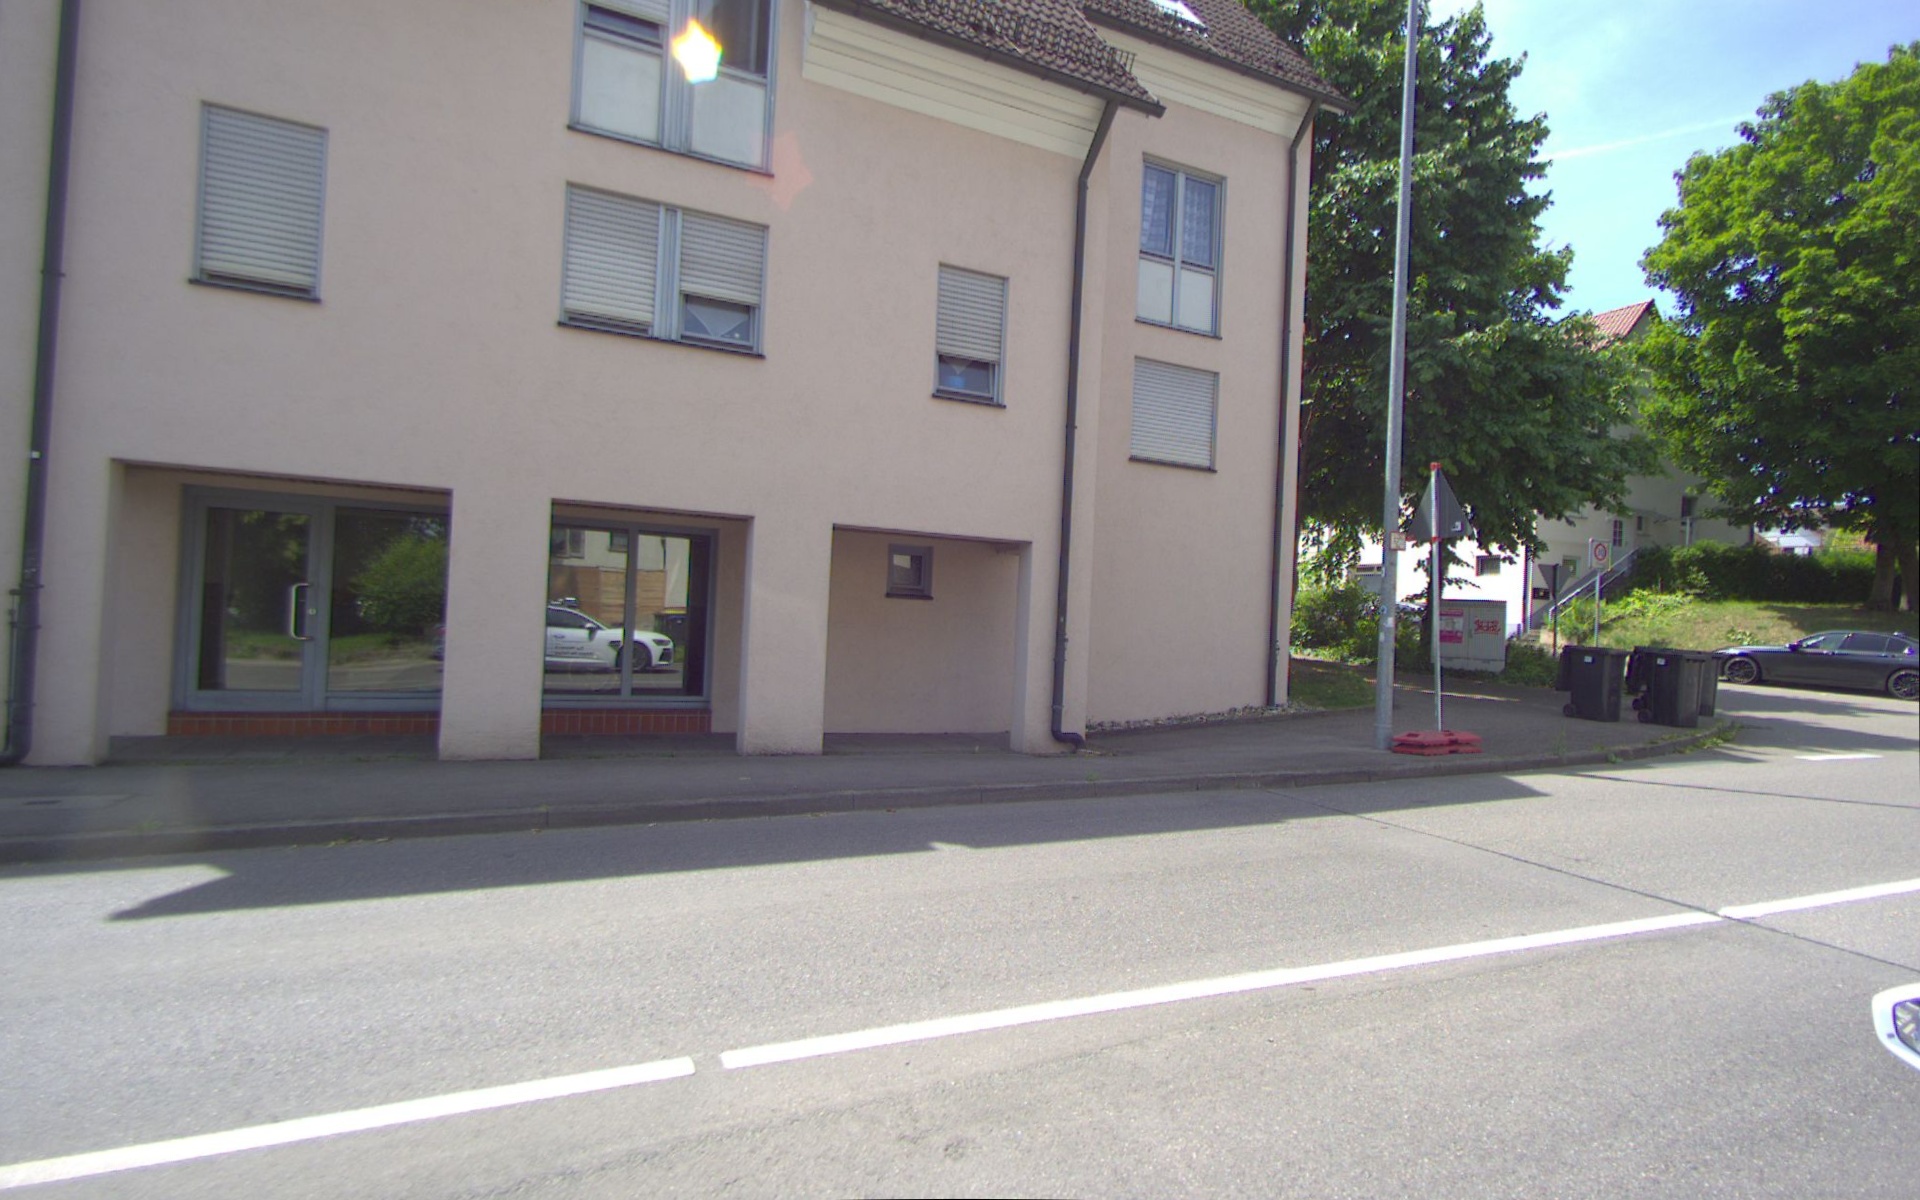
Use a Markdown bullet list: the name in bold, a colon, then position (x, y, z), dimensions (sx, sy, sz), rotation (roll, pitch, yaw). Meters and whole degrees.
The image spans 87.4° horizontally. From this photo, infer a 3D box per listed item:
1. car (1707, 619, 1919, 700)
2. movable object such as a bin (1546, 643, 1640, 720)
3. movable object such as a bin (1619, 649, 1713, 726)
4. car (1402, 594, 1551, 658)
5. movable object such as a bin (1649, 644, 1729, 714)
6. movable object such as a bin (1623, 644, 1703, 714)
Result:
- **car**: position (21.006, 1.389, 23.955), dimensions (1.984, 1.499, 4.733), rotation (2, 2, -41)
- **movable object such as a bin**: position (9.166, 1.170, 14.567), dimensions (0.793, 1.014, 0.799), rotation (2, 1, -20)
- **movable object such as a bin**: position (10.029, 1.233, 14.282), dimensions (0.683, 1.013, 0.850), rotation (2, 0, -20)
- **car**: position (16.429, 0.783, 32.162), dimensions (1.879, 1.706, 3.982), rotation (2, 3, -19)
- **movable object such as a bin**: position (11.834, 1.280, 16.321), dimensions (0.600, 1.013, 0.770), rotation (3, 2, -19)
- **movable object such as a bin**: position (11.244, 1.258, 16.082), dimensions (0.600, 1.013, 0.770), rotation (3, 2, -20)
